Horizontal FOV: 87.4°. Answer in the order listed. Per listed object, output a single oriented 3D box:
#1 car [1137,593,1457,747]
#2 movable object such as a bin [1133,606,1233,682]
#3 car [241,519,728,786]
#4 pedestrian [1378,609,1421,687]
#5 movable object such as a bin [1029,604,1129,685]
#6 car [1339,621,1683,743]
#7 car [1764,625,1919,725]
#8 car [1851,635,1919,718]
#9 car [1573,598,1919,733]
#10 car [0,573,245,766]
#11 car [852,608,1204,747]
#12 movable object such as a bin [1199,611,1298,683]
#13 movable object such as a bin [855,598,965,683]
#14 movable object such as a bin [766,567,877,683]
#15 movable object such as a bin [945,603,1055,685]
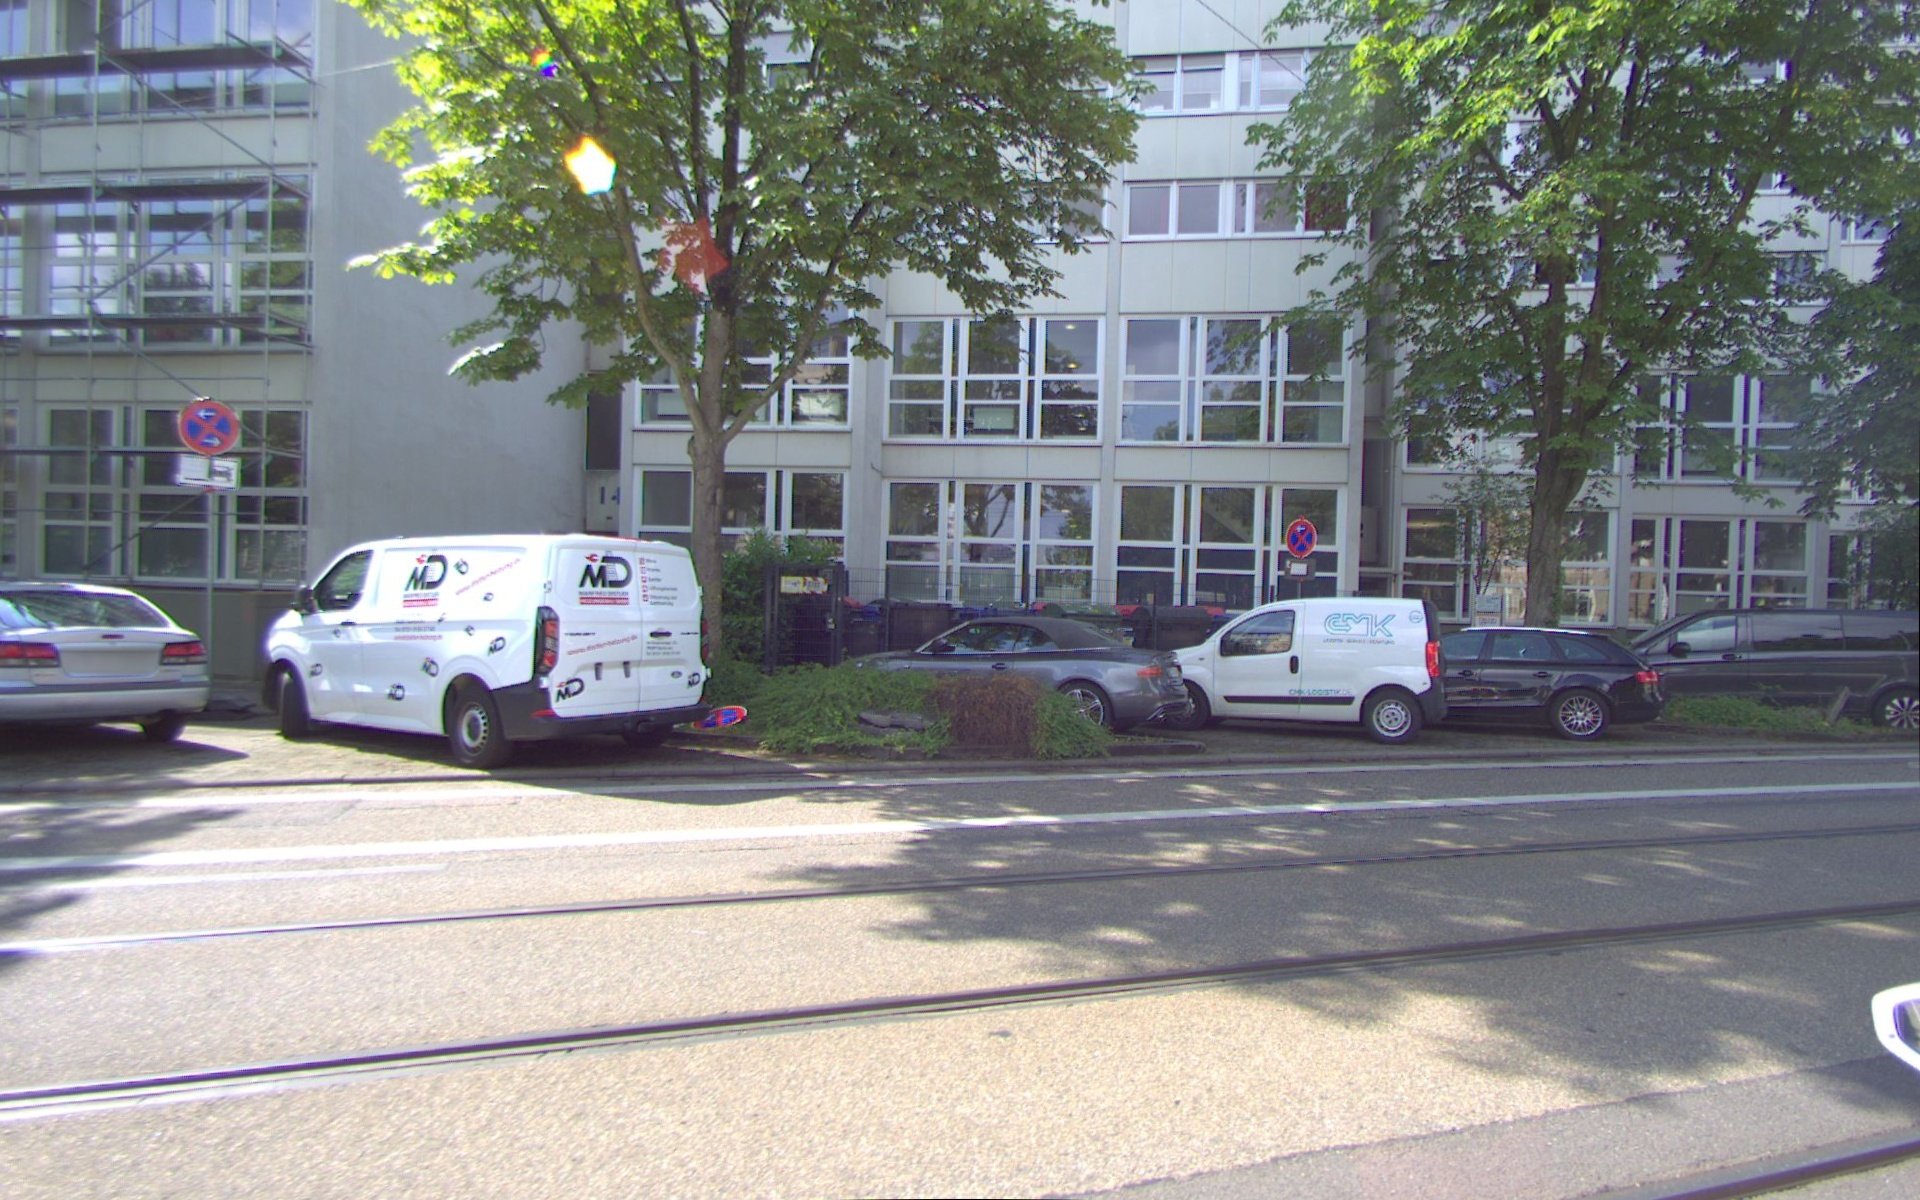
[{"bbox_3d":[4.315,0.819,12.906,3.648,1.715,1.758,0,-2,29],"label":"car"},{"bbox_3d":[4.157,0.835,18.767,1.419,1.344,1.163,2,-3,-19],"label":"movable object such as a bin"},{"bbox_3d":[-4.636,0.356,9.620,4.603,2.024,1.965,2,0,31],"label":"car"},{"bbox_3d":[9.295,0.999,21.263,0.632,1.597,0.882,2,-1,12],"label":"pedestrian"},{"bbox_3d":[2.173,0.827,18.471,1.420,1.398,1.191,2,-3,-21],"label":"movable object such as a bin"},{"bbox_3d":[7.400,1.052,13.853,3.925,1.436,1.759,0,-2,26],"label":"car"},{"bbox_3d":[16.341,1.272,17.040,3.927,1.614,1.739,0,-2,28],"label":"car"},{"bbox_3d":[19.064,1.429,18.311,3.929,1.504,1.738,0,-2,30],"label":"car"},{"bbox_3d":[13.038,0.994,16.341,5.072,1.980,1.915,0,-2,26],"label":"car"},{"bbox_3d":[-8.705,0.492,9.331,4.096,1.469,1.819,2,0,30],"label":"car"},{"bbox_3d":[0.844,0.862,12.187,3.922,1.436,1.722,0,-2,21],"label":"car"},{"bbox_3d":[5.513,0.908,19.244,1.419,1.300,1.167,2,-3,-19],"label":"movable object such as a bin"},{"bbox_3d":[-0.876,0.712,17.320,1.517,1.381,1.384,2,-3,-22],"label":"movable object such as a bin"},{"bbox_3d":[-2.331,0.443,16.755,1.517,1.805,1.384,2,-3,-22],"label":"movable object such as a bin"},{"bbox_3d":[0.701,0.804,17.978,1.517,1.381,1.384,2,-3,-22],"label":"movable object such as a bin"}]
